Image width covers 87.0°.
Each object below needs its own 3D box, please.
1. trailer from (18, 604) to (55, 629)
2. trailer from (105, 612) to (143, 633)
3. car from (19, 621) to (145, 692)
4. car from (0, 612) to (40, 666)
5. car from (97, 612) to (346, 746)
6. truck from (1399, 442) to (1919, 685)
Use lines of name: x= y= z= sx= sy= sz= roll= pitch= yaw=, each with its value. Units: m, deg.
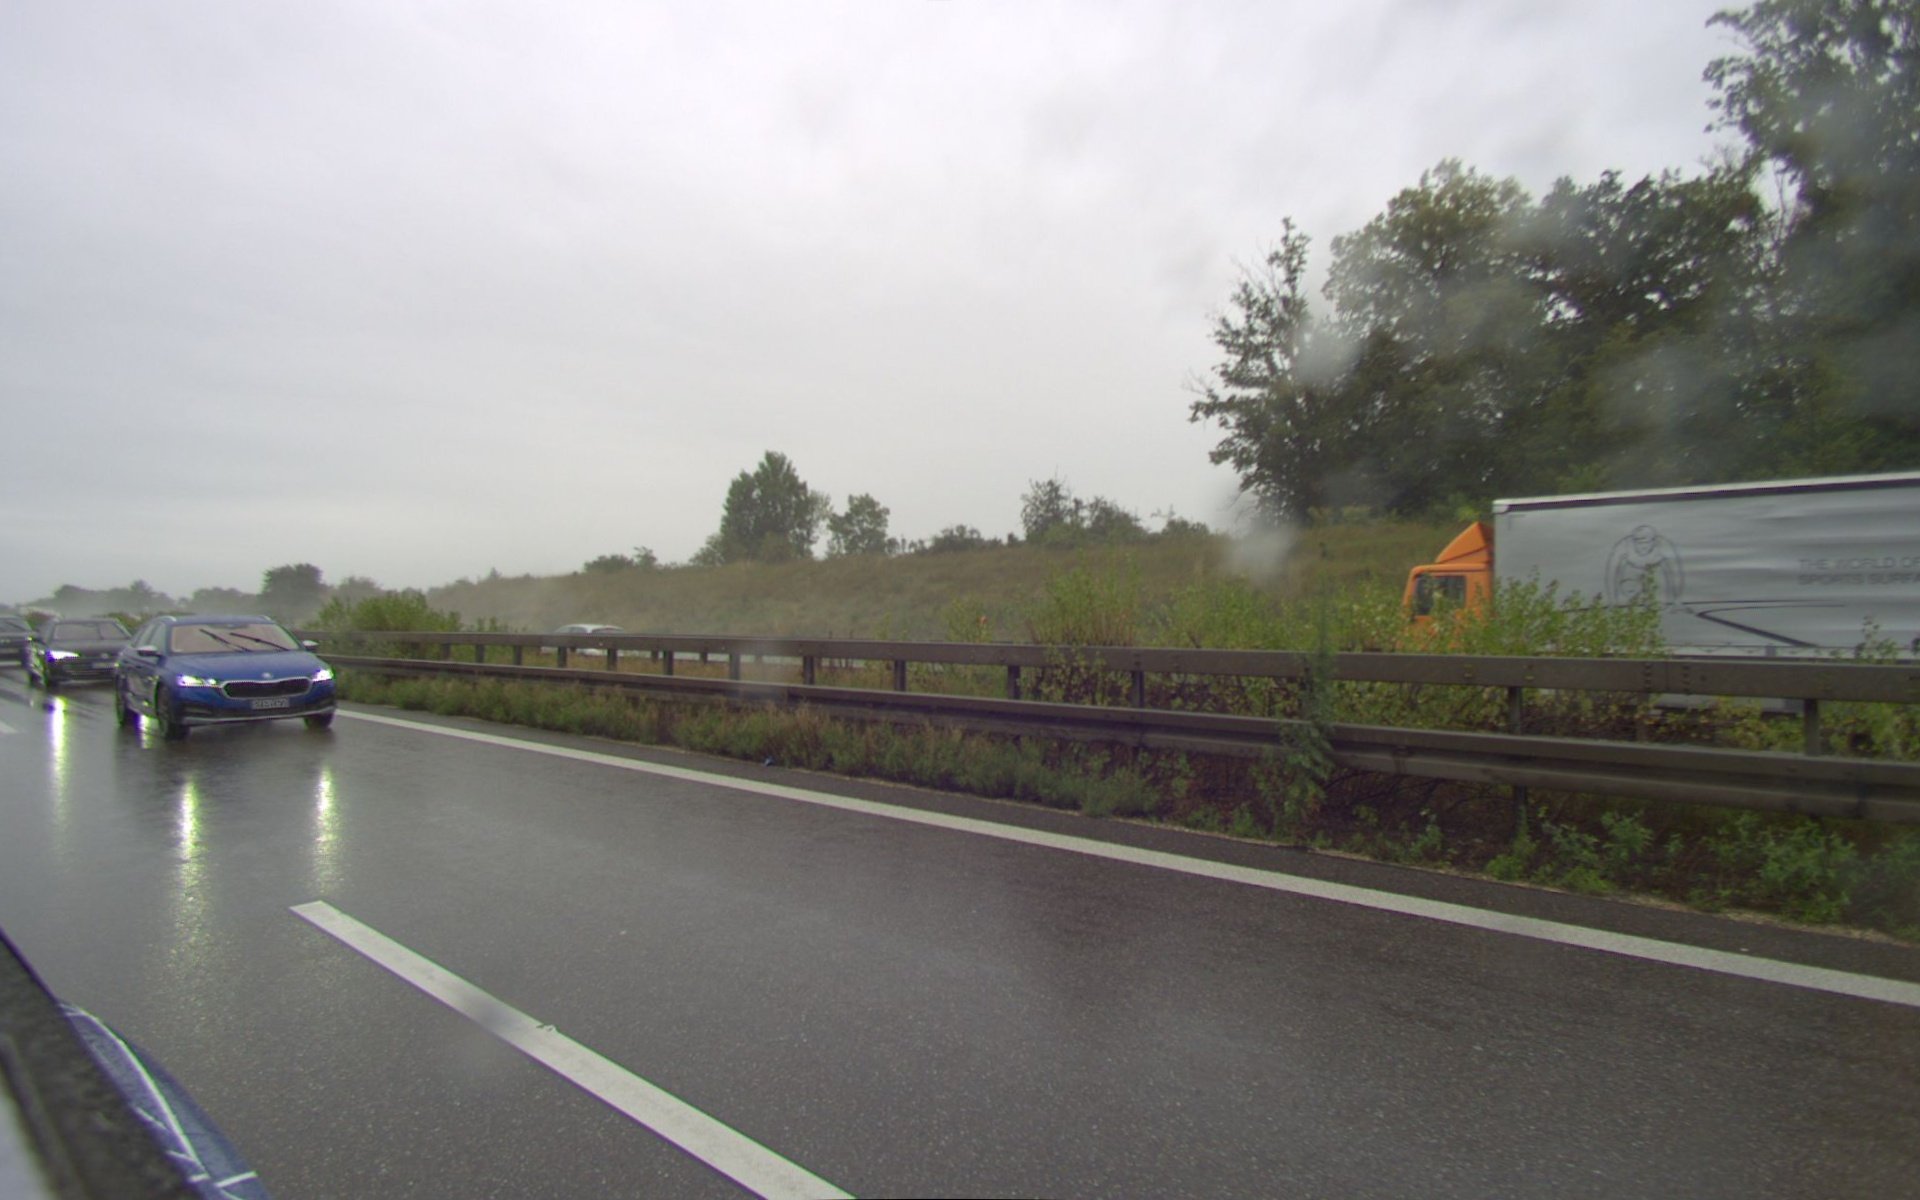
trailer: x=-106.069 y=1.902 z=116.185 sx=7.323 sy=2.739 sz=2.455 roll=0 pitch=-2 yaw=42
trailer: x=-84.178 y=2.259 z=101.868 sx=5.347 sy=2.029 sz=2.070 roll=0 pitch=-2 yaw=41
car: x=-19.878 y=1.222 z=22.852 sx=4.368 sy=1.447 sz=1.592 roll=-2 pitch=-1 yaw=41
car: x=-30.946 y=1.233 z=32.292 sx=4.267 sy=1.644 sz=1.864 roll=-2 pitch=-1 yaw=41
car: x=-9.955 y=0.943 z=13.506 sx=4.510 sy=1.487 sz=1.767 roll=-2 pitch=-1 yaw=41
truck: x=12.366 y=-0.442 z=16.264 sx=9.247 sy=3.306 sz=2.896 roll=-2 pitch=-2 yaw=40
